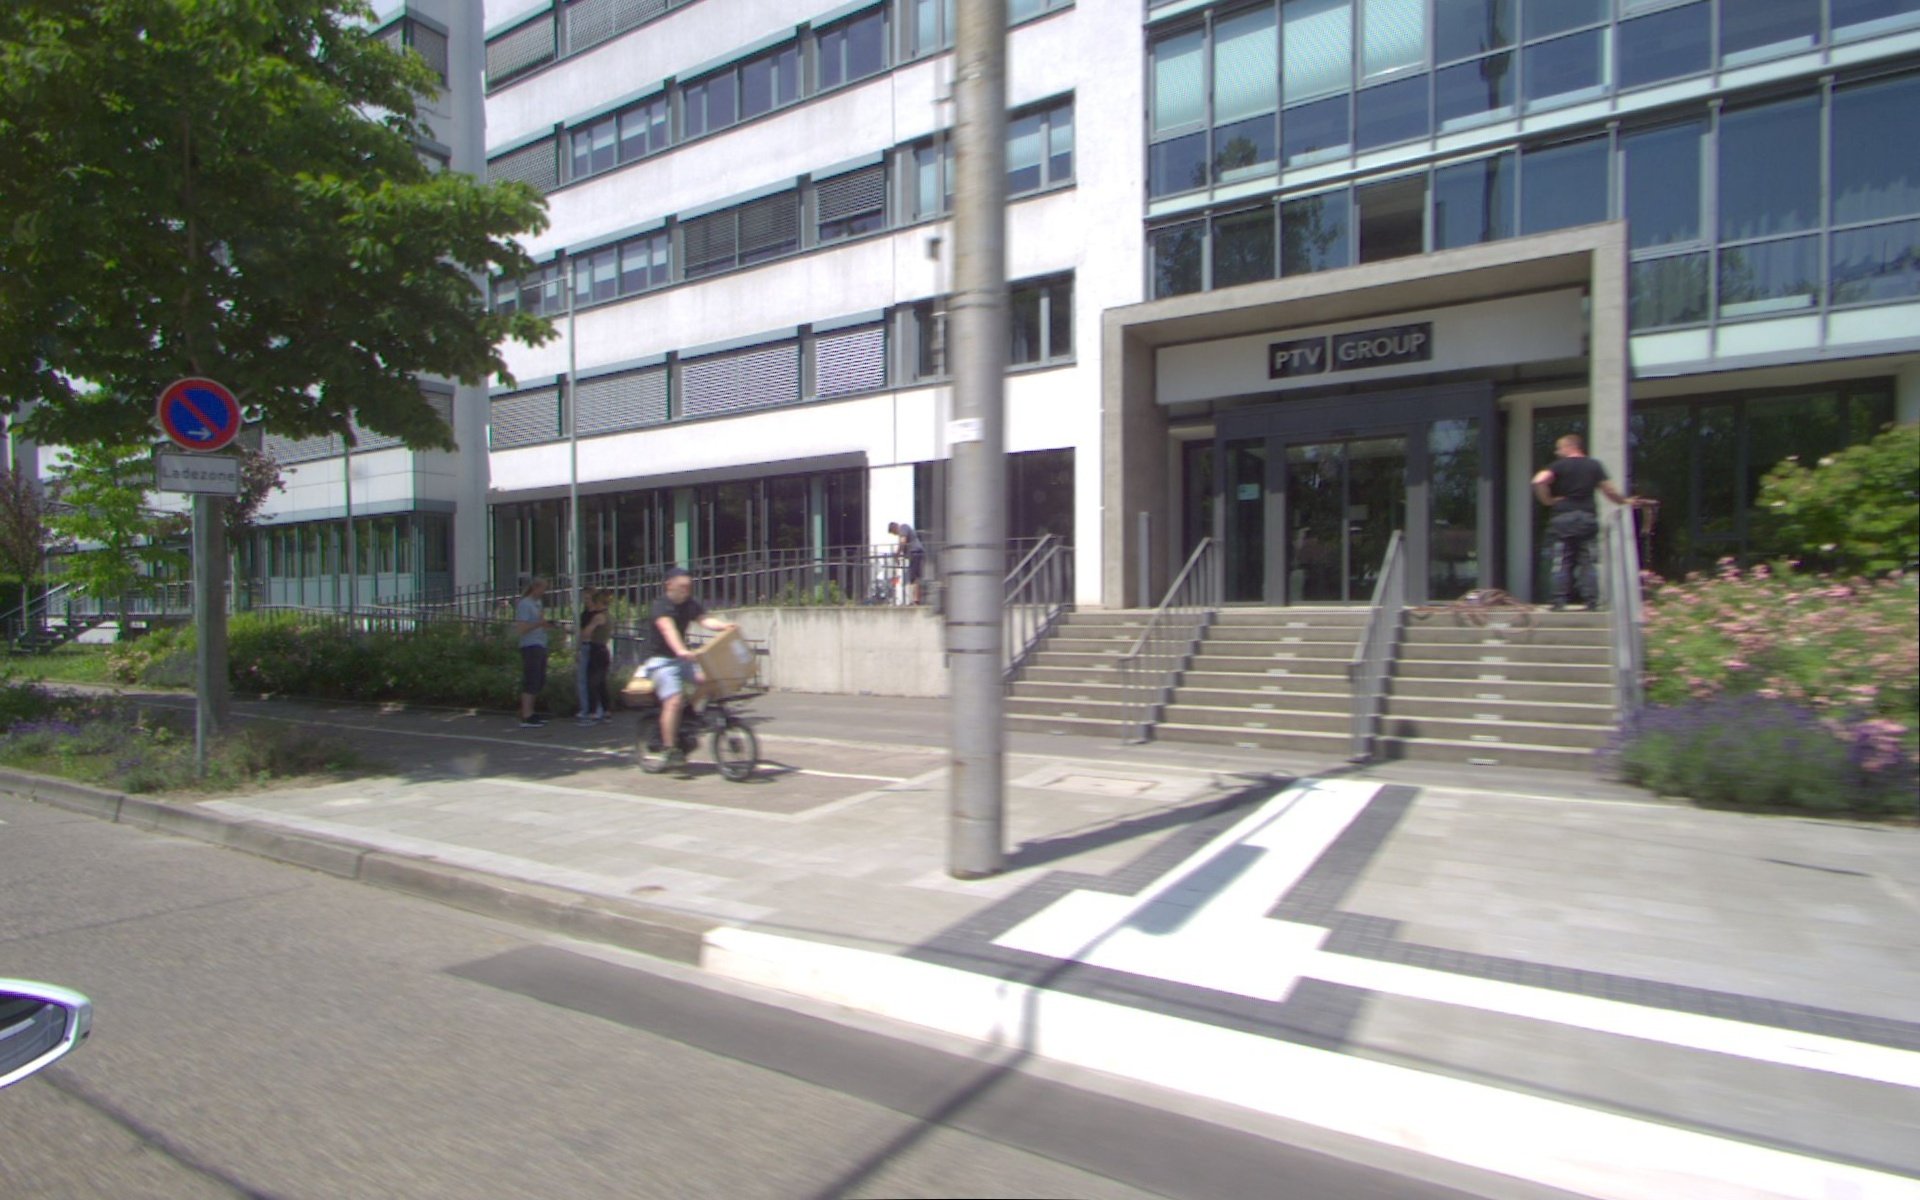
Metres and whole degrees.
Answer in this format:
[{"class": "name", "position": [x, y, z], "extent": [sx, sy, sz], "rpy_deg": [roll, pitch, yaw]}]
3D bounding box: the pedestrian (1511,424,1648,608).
[{"class": "pedestrian", "position": [6.244, -0.804, 10.159], "extent": [1.072, 1.738, 0.873], "rpy_deg": [-1, 2, 25]}]

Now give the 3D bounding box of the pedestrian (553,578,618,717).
[{"class": "pedestrian", "position": [-4.800, 0.600, 12.867], "extent": [0.554, 1.738, 0.538], "rpy_deg": [-1, 2, 3]}]

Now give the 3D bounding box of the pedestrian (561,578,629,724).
[{"class": "pedestrian", "position": [-4.454, 0.611, 12.249], "extent": [0.554, 1.738, 0.538], "rpy_deg": [-1, 2, 3]}]

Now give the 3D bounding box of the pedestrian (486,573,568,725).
[{"class": "pedestrian", "position": [-5.342, 0.589, 12.385], "extent": [0.661, 1.821, 0.679], "rpy_deg": [-1, 2, 1]}]

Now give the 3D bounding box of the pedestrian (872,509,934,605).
[{"class": "pedestrian", "position": [-1.072, -0.781, 18.881], "extent": [0.796, 1.738, 0.876], "rpy_deg": [1, 0, 31]}]

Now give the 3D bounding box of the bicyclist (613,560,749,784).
[{"class": "bicyclist", "position": [-2.413, 0.586, 8.684], "extent": [0.876, 1.824, 0.694], "rpy_deg": [0, 2, 35]}]

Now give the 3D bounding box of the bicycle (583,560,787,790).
[{"class": "bicycle", "position": [-2.402, 0.593, 8.668], "extent": [1.786, 1.809, 0.687], "rpy_deg": [-1, 2, 35]}]
